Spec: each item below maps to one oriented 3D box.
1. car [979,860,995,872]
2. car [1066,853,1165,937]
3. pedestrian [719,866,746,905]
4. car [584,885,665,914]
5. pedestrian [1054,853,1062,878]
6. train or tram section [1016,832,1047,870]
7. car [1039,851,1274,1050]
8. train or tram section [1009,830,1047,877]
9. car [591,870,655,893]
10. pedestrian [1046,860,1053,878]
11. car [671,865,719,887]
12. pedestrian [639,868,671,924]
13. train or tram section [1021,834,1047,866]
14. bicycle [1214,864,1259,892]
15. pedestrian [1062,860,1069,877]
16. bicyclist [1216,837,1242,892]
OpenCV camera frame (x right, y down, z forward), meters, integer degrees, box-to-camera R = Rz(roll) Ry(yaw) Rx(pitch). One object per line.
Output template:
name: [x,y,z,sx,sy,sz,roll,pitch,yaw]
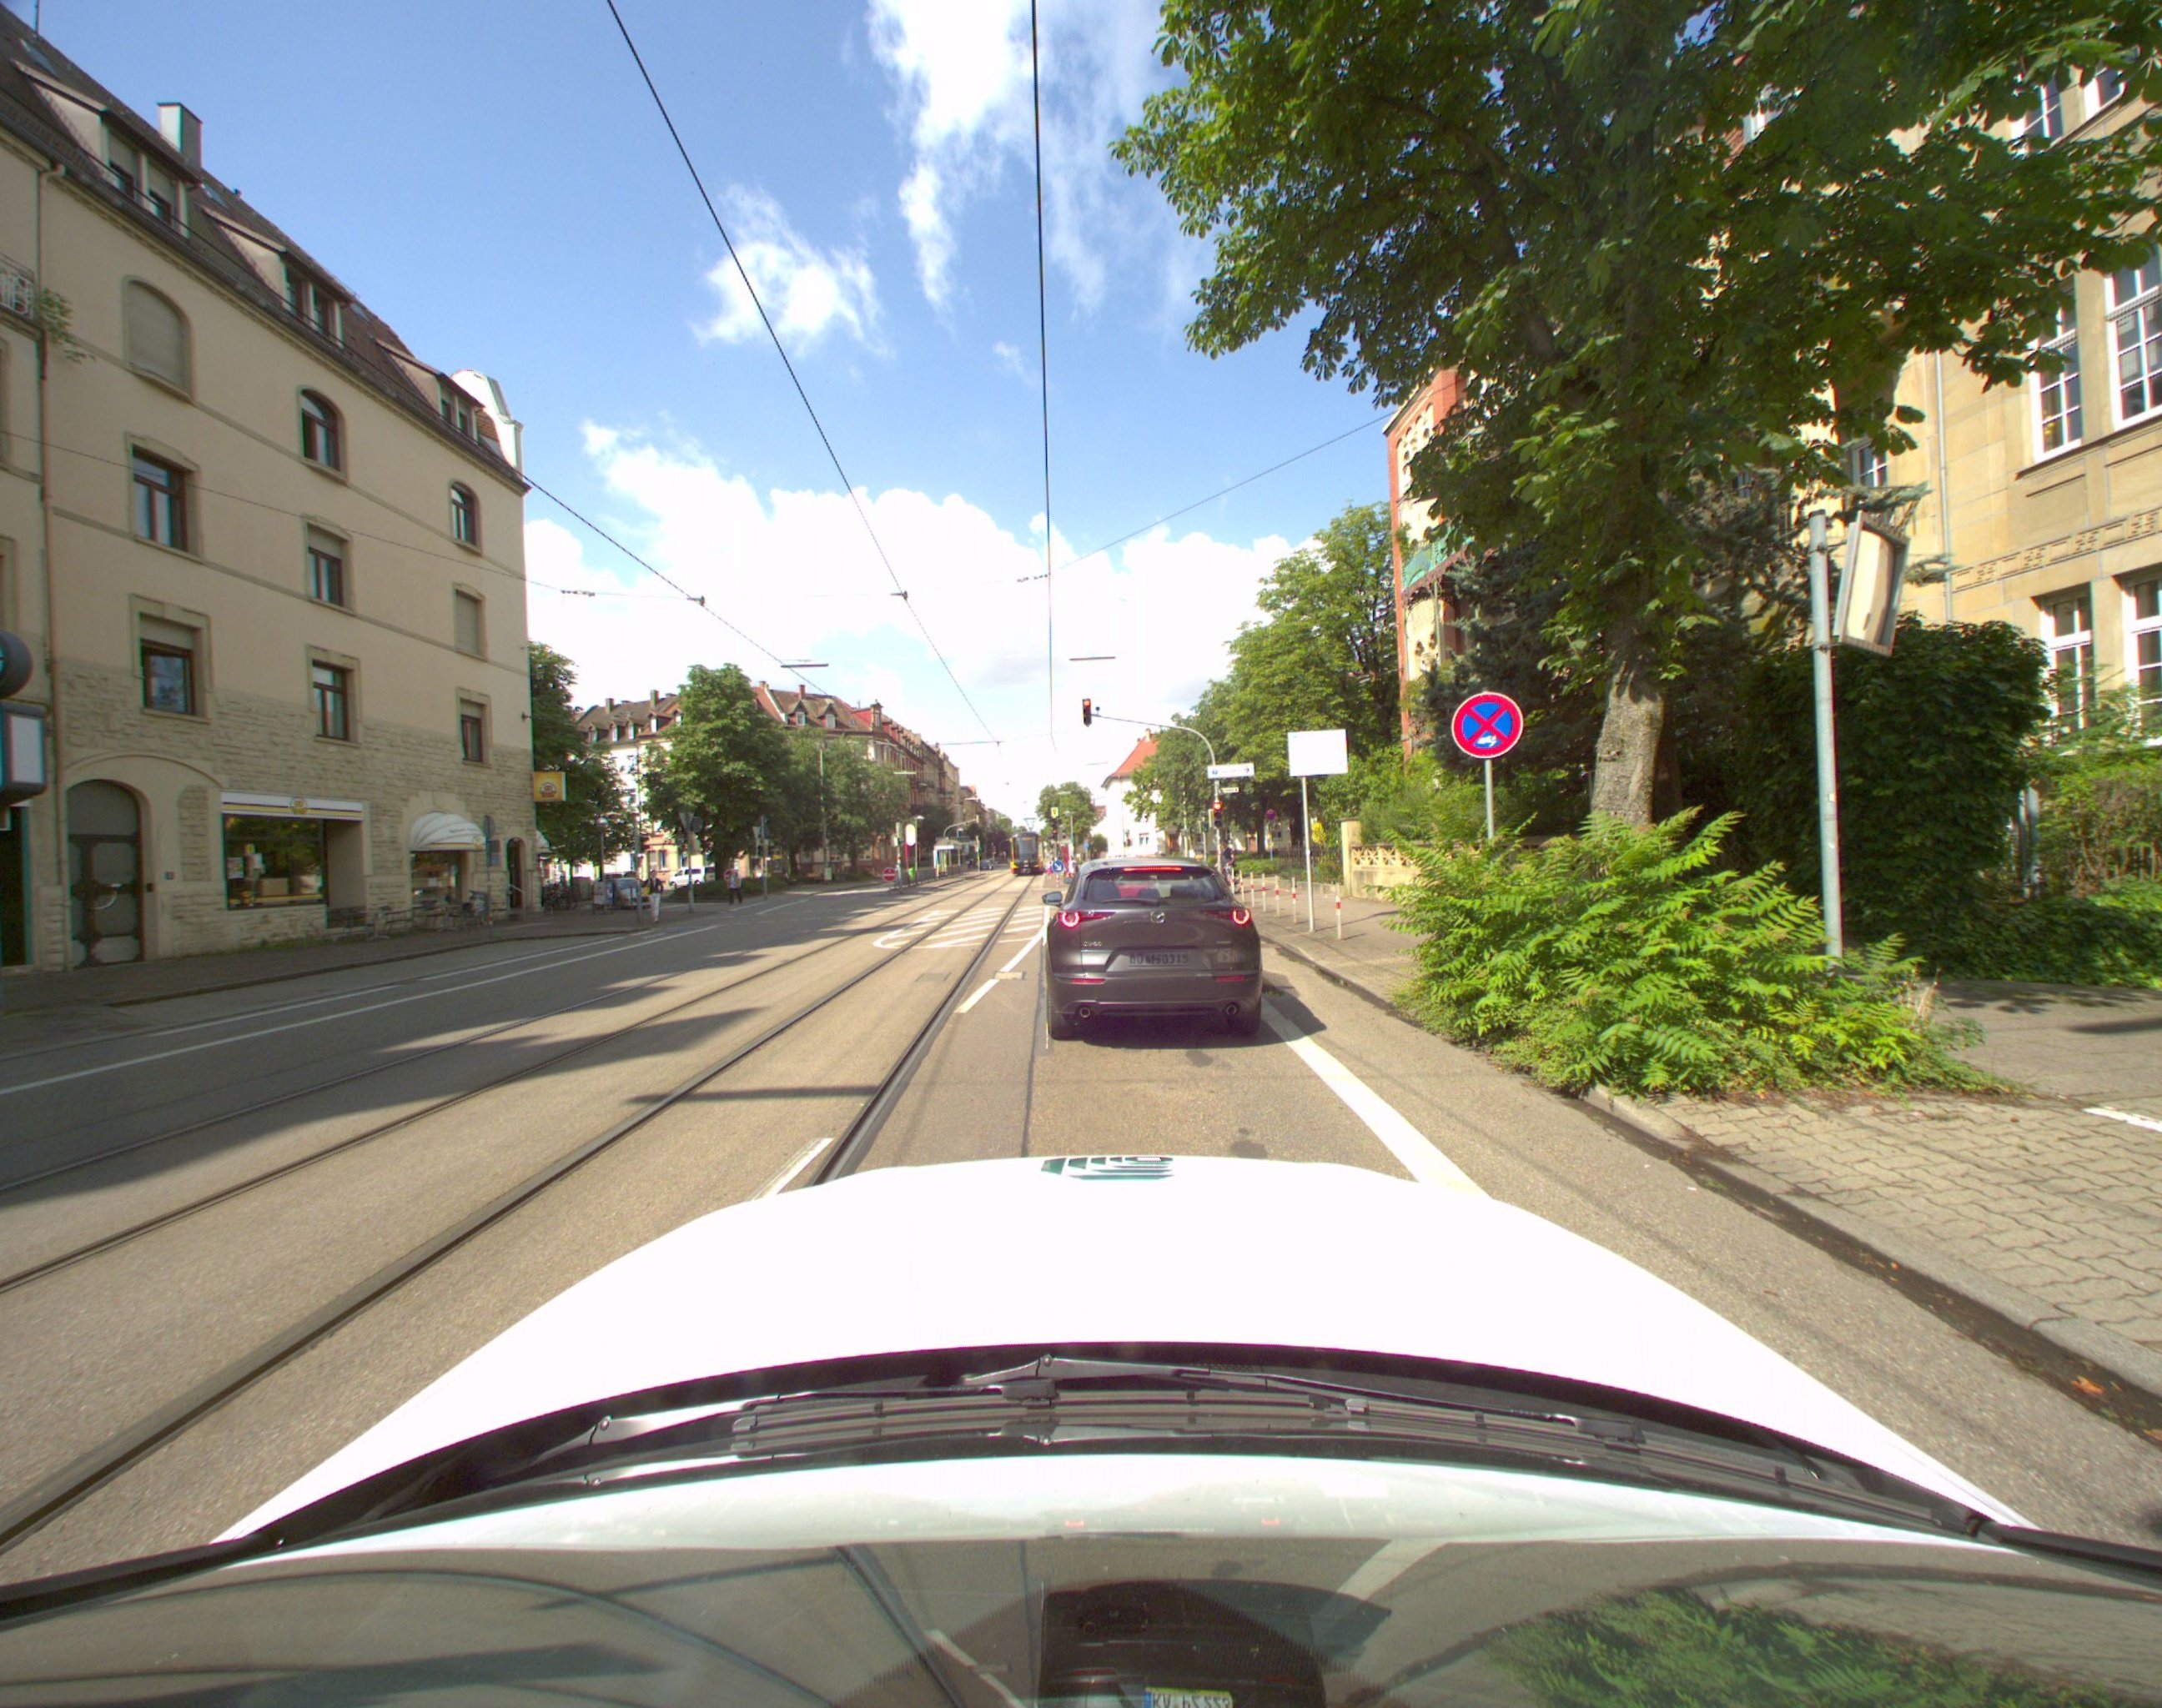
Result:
car: [-11.898,1.493,103.075,1.610,1.310,3.625,-3,0,-2]
car: [0.669,0.747,16.828,1.772,1.499,4.001,-1,0,1]
pedestrian: [-15.716,1.414,36.747,0.817,1.705,0.720,-3,0,6]
car: [-21.252,2.113,37.855,3.948,1.182,1.689,-3,0,35]
pedestrian: [-1.353,0.679,47.803,0.449,1.434,0.474,-3,0,-3]
train or tram section: [-4.999,-0.364,84.098,2.746,3.490,14.395,-3,1,-2]
car: [0.617,0.731,8.200,1.772,1.499,4.001,-1,0,1]
train or tram section: [-4.381,-0.154,69.715,2.746,3.490,14.395,-3,1,-2]
car: [-37.280,2.207,66.378,3.972,1.596,2.001,-3,0,1]
pedestrian: [-1.839,0.868,47.838,0.379,1.071,0.474,-3,0,-3]
car: [-37.106,2.080,78.274,3.950,1.903,2.012,-3,0,25]
pedestrian: [-13.873,1.347,26.519,0.804,1.754,0.678,-2,0,-33]
train or tram section: [-5.611,-0.582,98.466,2.746,3.490,14.395,-3,1,-2]
bicycle: [5.244,0.800,27.383,1.708,0.824,0.488,-2,0,-40]
pedestrian: [-0.923,0.865,48.035,0.379,0.984,0.474,-3,0,-3]
bicyclist: [4.907,0.345,27.013,0.608,1.793,0.656,-2,0,-9]
